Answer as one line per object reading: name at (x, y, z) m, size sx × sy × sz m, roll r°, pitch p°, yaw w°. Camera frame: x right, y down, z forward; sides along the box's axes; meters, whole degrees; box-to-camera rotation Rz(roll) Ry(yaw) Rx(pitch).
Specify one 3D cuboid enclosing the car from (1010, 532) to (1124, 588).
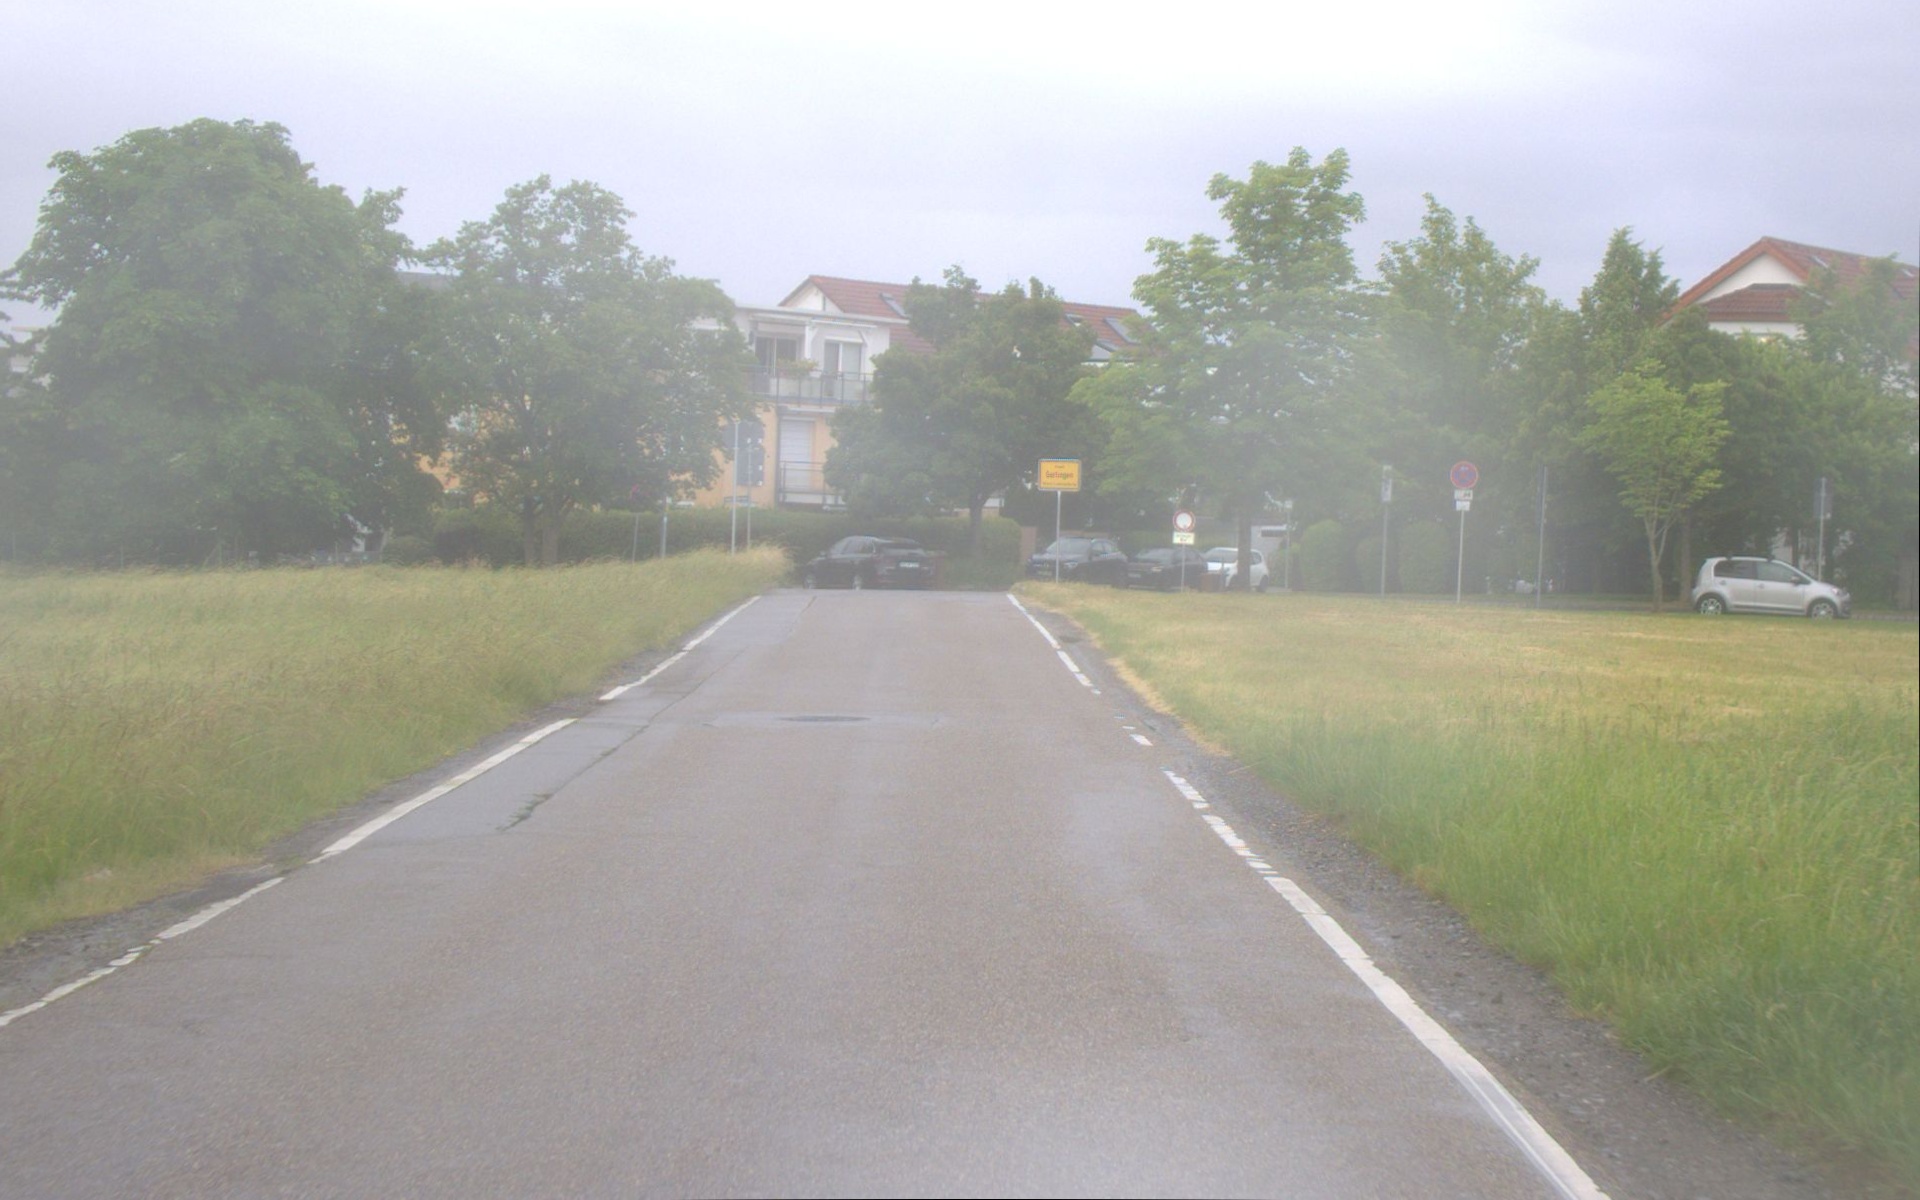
car at (3.317, -1.215, 105.582) m, size 1.778 × 1.513 × 4.131 m, roll 5°, pitch 2°, yaw 28°

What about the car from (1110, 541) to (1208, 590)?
car at (6.415, -1.094, 110.680) m, size 1.638 × 1.404 × 3.598 m, roll 5°, pitch 2°, yaw 30°

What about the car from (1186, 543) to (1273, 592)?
car at (9.063, -1.082, 115.295) m, size 1.513 × 1.471 × 3.267 m, roll 5°, pitch 2°, yaw 31°

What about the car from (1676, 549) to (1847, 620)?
car at (17.871, -0.348, 76.625) m, size 3.546 × 1.474 × 1.678 m, roll 2°, pitch 0°, yaw 18°

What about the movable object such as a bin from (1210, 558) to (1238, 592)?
movable object such as a bin at (7.535, -0.706, 98.141) m, size 0.571 × 0.928 × 0.529 m, roll 3°, pitch 1°, yaw 33°

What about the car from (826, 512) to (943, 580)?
car at (-1.832, -1.292, 82.268) m, size 1.686 × 1.547 × 3.698 m, roll 2°, pitch 0°, yaw -20°
